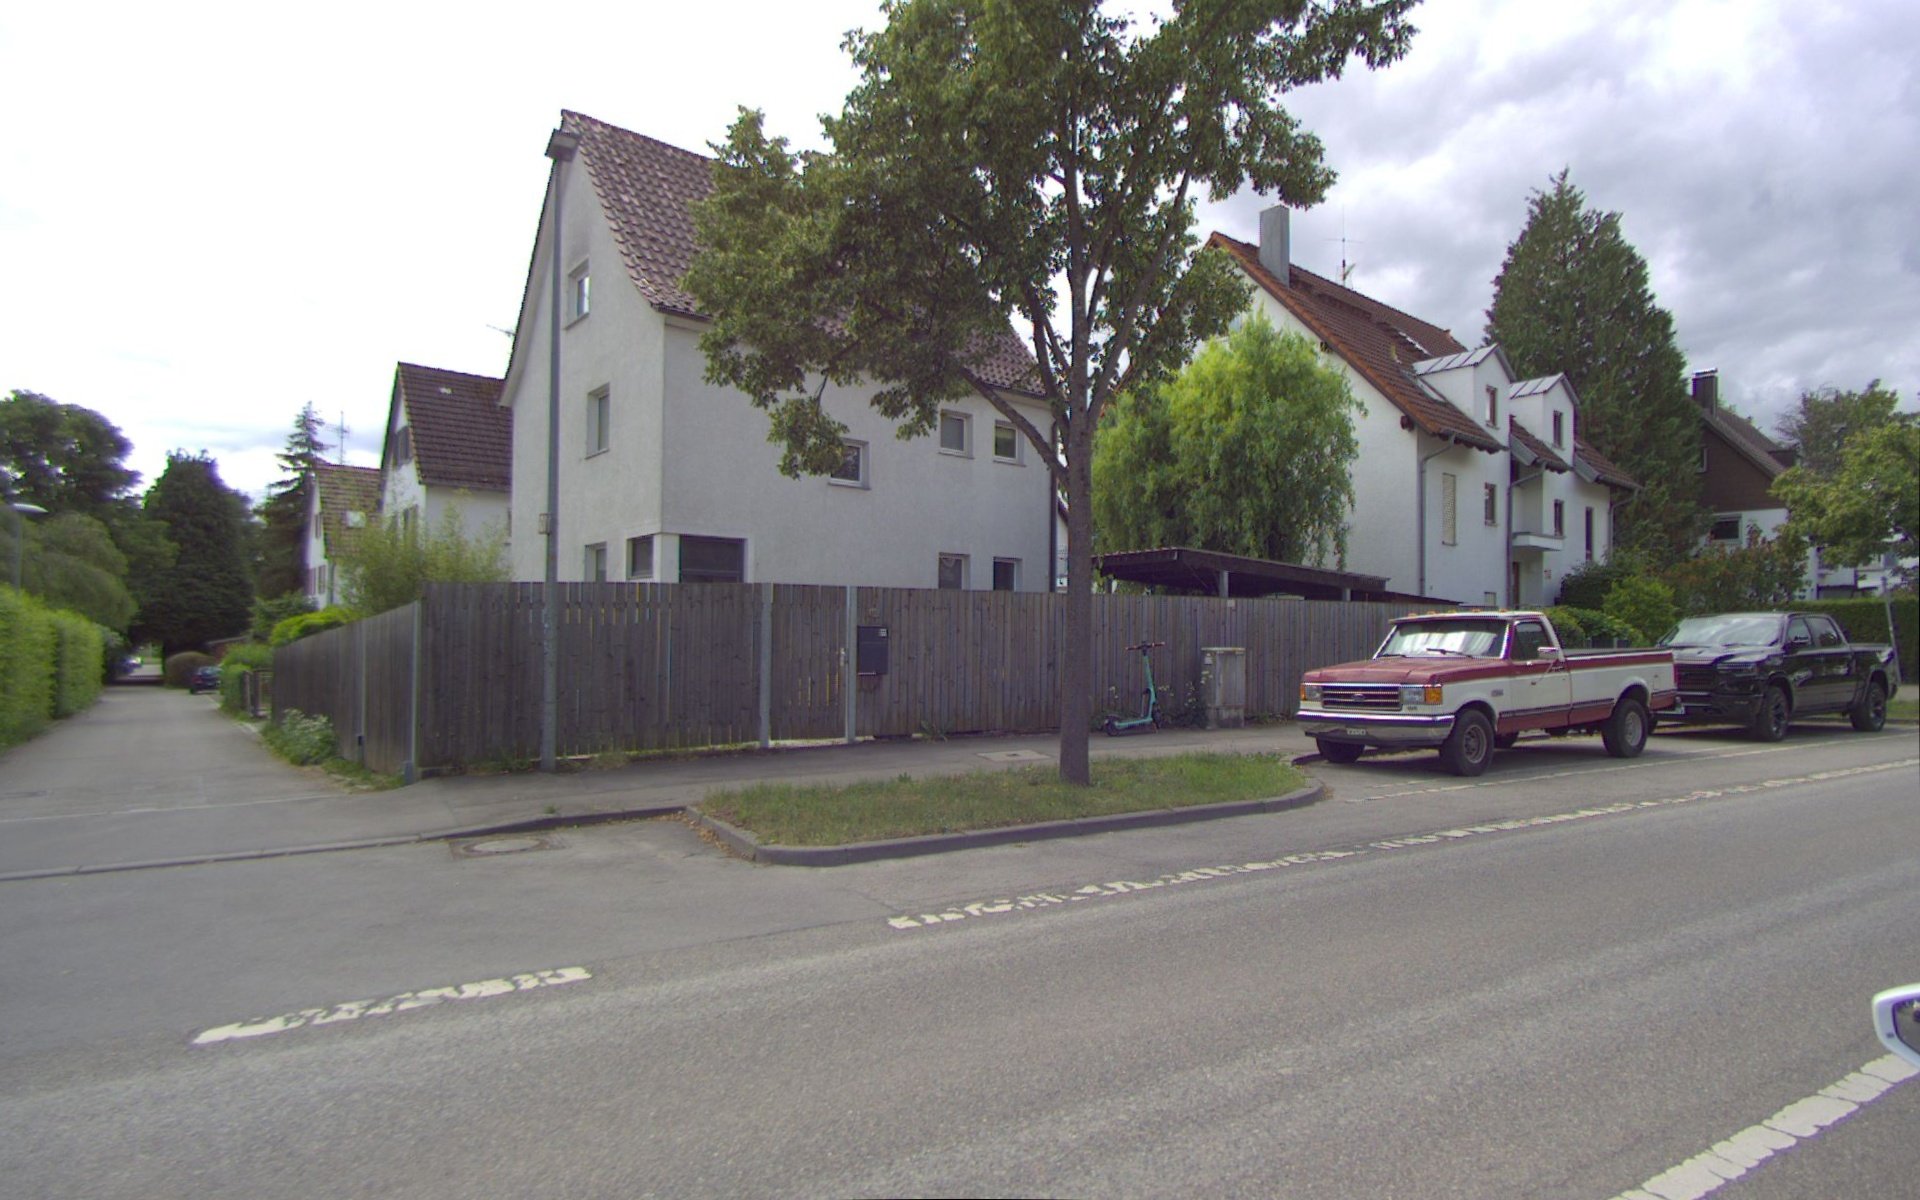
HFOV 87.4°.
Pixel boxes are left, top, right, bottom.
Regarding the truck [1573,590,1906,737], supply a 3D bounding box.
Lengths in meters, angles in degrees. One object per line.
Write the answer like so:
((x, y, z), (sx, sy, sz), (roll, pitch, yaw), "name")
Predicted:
((13.032, 0.974, 16.695), (5.926, 2.070, 2.411), (1, -2, -31), "truck")

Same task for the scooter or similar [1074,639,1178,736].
((2.284, 1.176, 13.785), (1.291, 1.228, 0.631), (2, 0, -34), "scooter or similar")

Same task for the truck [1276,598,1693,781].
((6.732, 1.034, 12.694), (5.598, 1.892, 1.958), (1, -4, -30), "truck")

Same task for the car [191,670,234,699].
((-39.874, 4.489, 53.640), (1.735, 1.427, 3.850), (1, -4, -36), "car")
